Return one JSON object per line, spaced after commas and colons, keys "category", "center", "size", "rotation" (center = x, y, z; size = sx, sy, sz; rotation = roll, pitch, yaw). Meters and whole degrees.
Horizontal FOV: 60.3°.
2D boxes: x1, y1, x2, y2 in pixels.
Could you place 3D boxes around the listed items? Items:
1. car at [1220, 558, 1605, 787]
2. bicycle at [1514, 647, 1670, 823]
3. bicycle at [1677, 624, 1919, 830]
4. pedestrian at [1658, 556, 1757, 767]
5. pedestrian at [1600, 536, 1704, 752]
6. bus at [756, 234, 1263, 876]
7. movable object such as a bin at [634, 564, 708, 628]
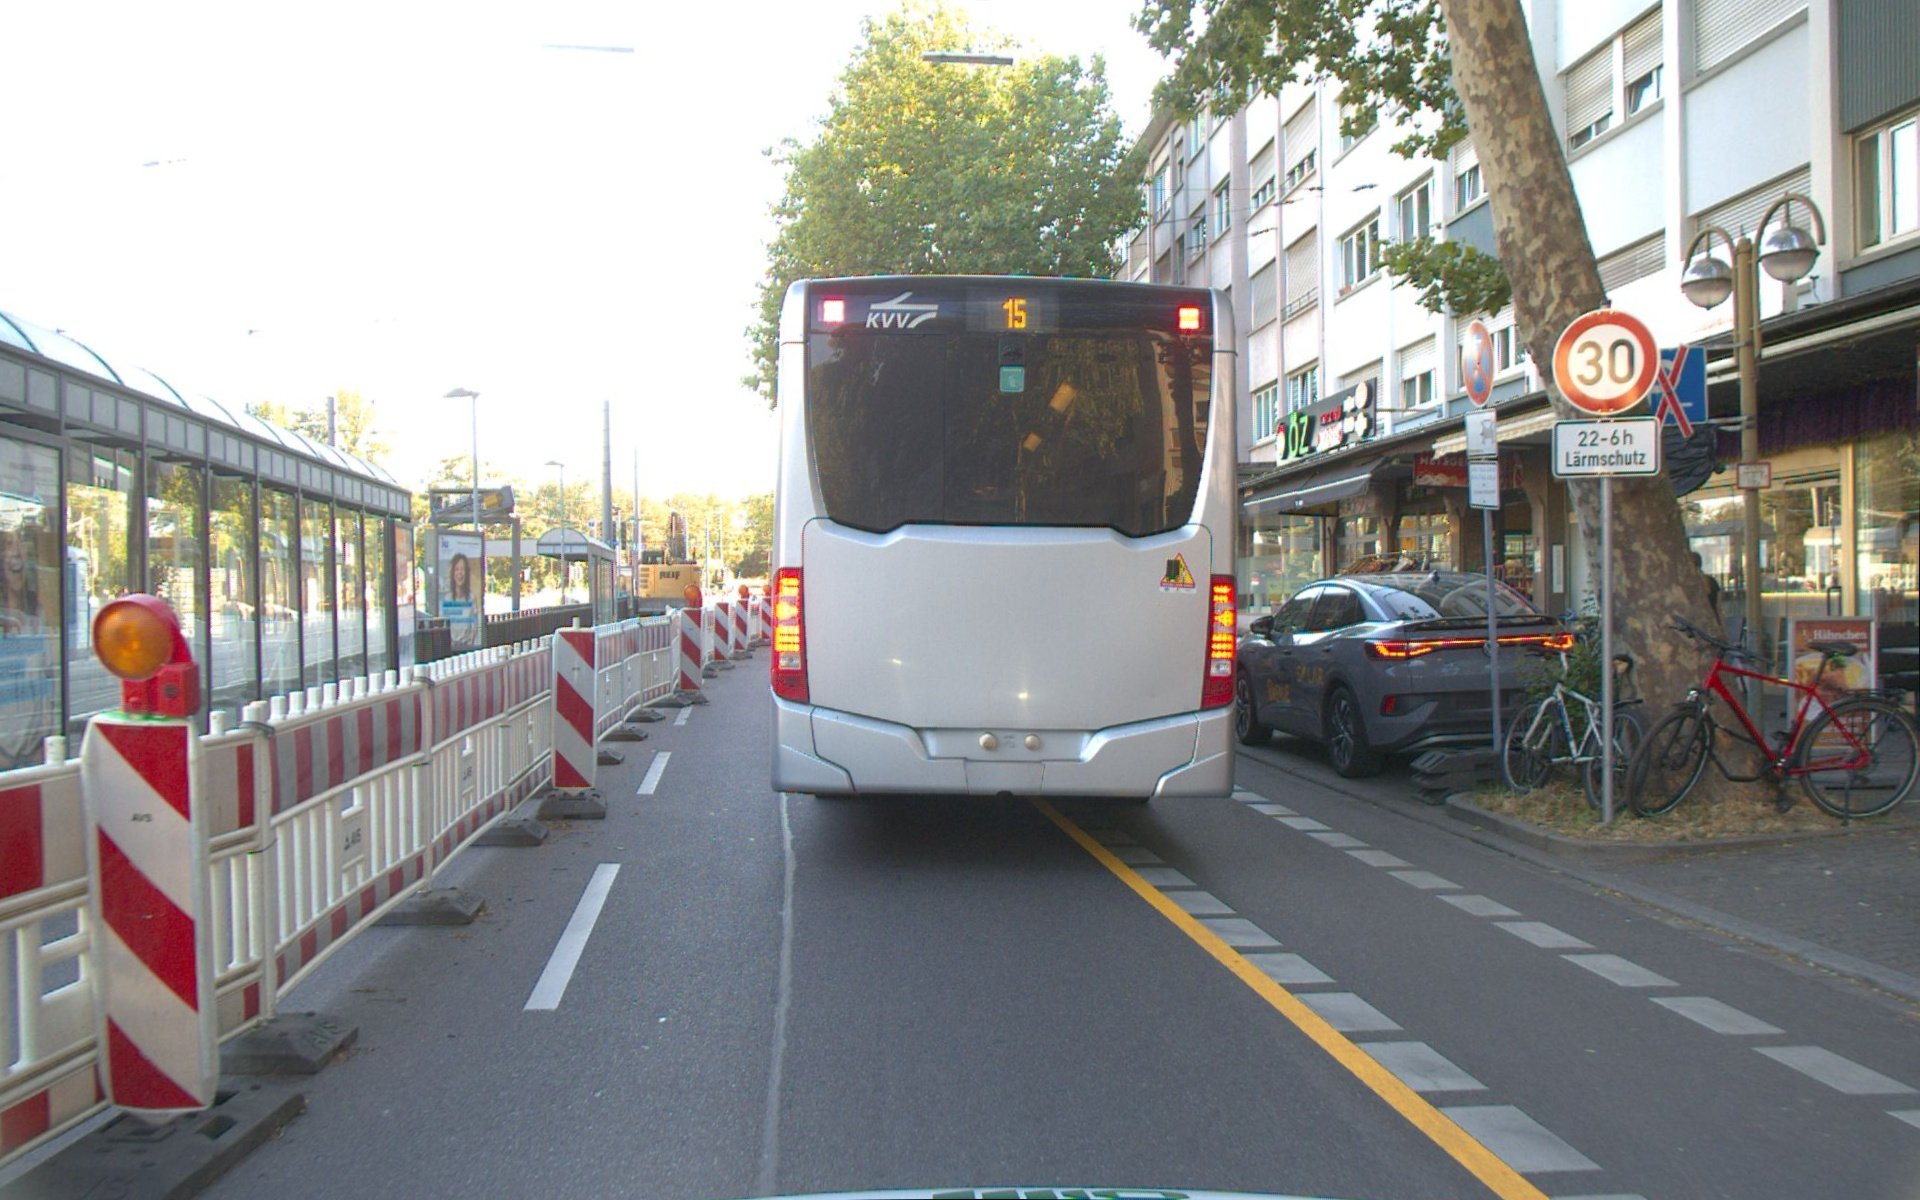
{"category": "car", "center": [3.743, 0.528, 14.542], "size": [1.707, 1.625, 4.292], "rotation": [-3, 1, -7]}
{"category": "bicycle", "center": [3.951, 0.820, 10.401], "size": [0.289, 0.943, 1.127], "rotation": [-5, 3, -13]}
{"category": "bicycle", "center": [5.009, 0.736, 9.653], "size": [1.429, 1.084, 0.296], "rotation": [-4, 3, 9]}
{"category": "pedestrian", "center": [7.441, 0.600, 16.481], "size": [0.601, 2.049, 0.695], "rotation": [-1, 0, -6]}
{"category": "pedestrian", "center": [6.753, 0.420, 16.161], "size": [0.677, 2.049, 0.696], "rotation": [-1, 0, -4]}
{"category": "bus", "center": [0.194, -0.235, 13.472], "size": [2.555, 3.225, 10.290], "rotation": [0, 0, -1]}
{"category": "movable object such as a bin", "center": [-11.700, -0.177, 67.218], "size": [2.754, 2.505, 3.993], "rotation": [-1, 0, -7]}
